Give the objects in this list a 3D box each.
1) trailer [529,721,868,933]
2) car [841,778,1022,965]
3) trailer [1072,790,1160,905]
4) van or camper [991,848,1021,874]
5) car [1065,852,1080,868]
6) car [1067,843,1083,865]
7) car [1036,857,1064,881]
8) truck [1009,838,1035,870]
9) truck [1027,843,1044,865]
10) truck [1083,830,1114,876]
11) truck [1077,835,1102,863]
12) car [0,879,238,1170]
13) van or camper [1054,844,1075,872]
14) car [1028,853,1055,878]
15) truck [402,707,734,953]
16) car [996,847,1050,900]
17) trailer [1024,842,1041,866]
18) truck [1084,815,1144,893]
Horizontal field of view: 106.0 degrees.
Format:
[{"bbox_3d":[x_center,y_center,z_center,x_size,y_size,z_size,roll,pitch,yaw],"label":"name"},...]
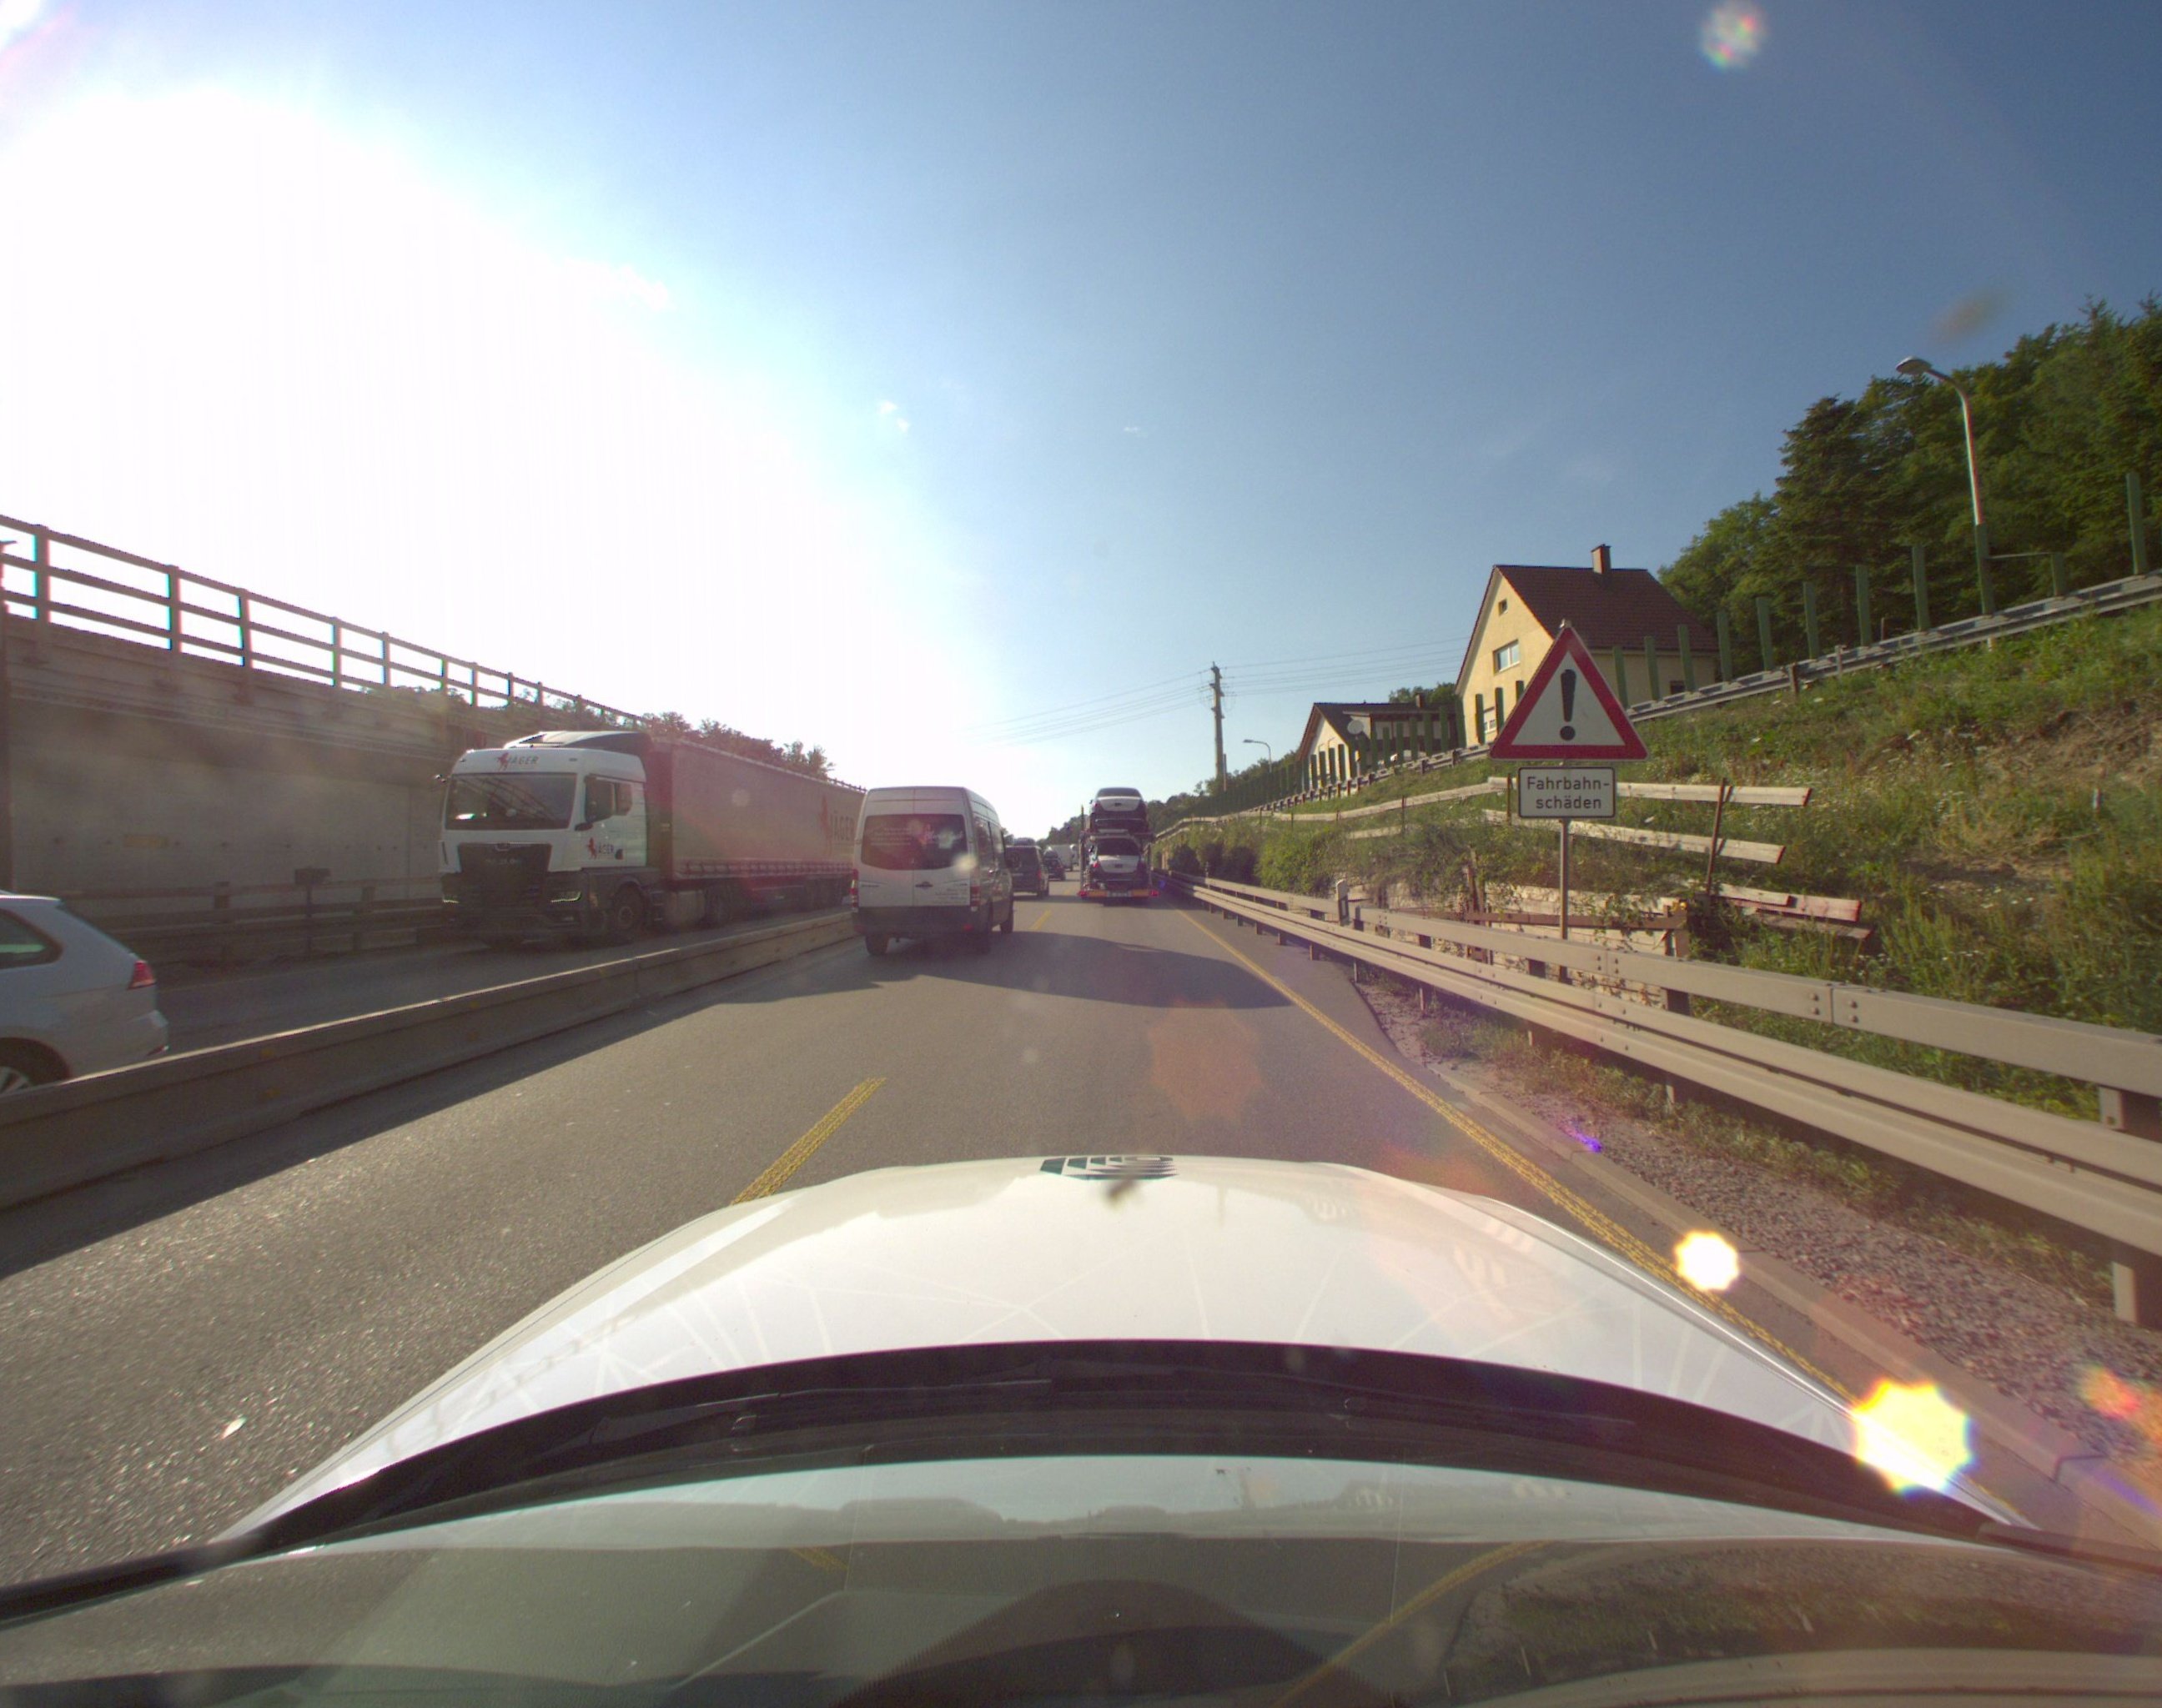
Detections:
[{"bbox_3d":[-9.431,-0.415,23.166,2.903,4.240,13.770,0,-1,1],"label":"trailer"},{"bbox_3d":[-2.372,0.261,14.592,1.986,2.648,5.532,-2,0,2],"label":"car"},{"bbox_3d":[1.343,-0.089,32.812,2.672,3.535,15.294,-1,-1,2],"label":"trailer"},{"bbox_3d":[-8.045,0.725,88.184,2.303,2.662,6.456,-3,0,1],"label":"van or camper"},{"bbox_3d":[-1.160,0.834,109.941,1.879,2.100,3.766,-1,-1,1],"label":"car"},{"bbox_3d":[-1.419,0.032,190.975,3.437,5.035,9.642,-1,0,-3],"label":"car"},{"bbox_3d":[-2.071,1.000,55.384,1.719,1.522,3.973,0,0,0],"label":"car"},{"bbox_3d":[-8.193,-0.018,113.953,2.616,4.112,9.625,-4,0,0],"label":"truck"},{"bbox_3d":[-9.218,0.058,166.500,2.975,4.153,15.842,-1,0,-2],"label":"truck"},{"bbox_3d":[1.812,-0.070,87.187,2.899,4.606,7.281,-1,0,-1],"label":"truck"},{"bbox_3d":[1.604,-0.789,143.560,4.049,4.679,10.596,-1,0,2],"label":"truck"},{"bbox_3d":[-6.312,0.853,2.965,1.635,1.459,4.596,0,-1,1],"label":"car"},{"bbox_3d":[-1.624,0.437,80.714,1.961,2.592,5.041,0,-1,0],"label":"van or camper"},{"bbox_3d":[-4.147,1.231,85.729,2.463,2.534,4.000,-1,-1,1],"label":"car"},{"bbox_3d":[-9.576,-0.346,16.132,2.850,4.008,5.659,0,-1,1],"label":"truck"},{"bbox_3d":[-2.185,0.752,31.520,1.802,1.904,3.999,0,-1,0],"label":"car"},{"bbox_3d":[-8.663,0.030,147.713,2.703,4.092,12.559,-1,0,-2],"label":"trailer"},{"bbox_3d":[1.594,0.056,40.379,2.672,3.535,7.196,-1,-1,2],"label":"truck"}]
